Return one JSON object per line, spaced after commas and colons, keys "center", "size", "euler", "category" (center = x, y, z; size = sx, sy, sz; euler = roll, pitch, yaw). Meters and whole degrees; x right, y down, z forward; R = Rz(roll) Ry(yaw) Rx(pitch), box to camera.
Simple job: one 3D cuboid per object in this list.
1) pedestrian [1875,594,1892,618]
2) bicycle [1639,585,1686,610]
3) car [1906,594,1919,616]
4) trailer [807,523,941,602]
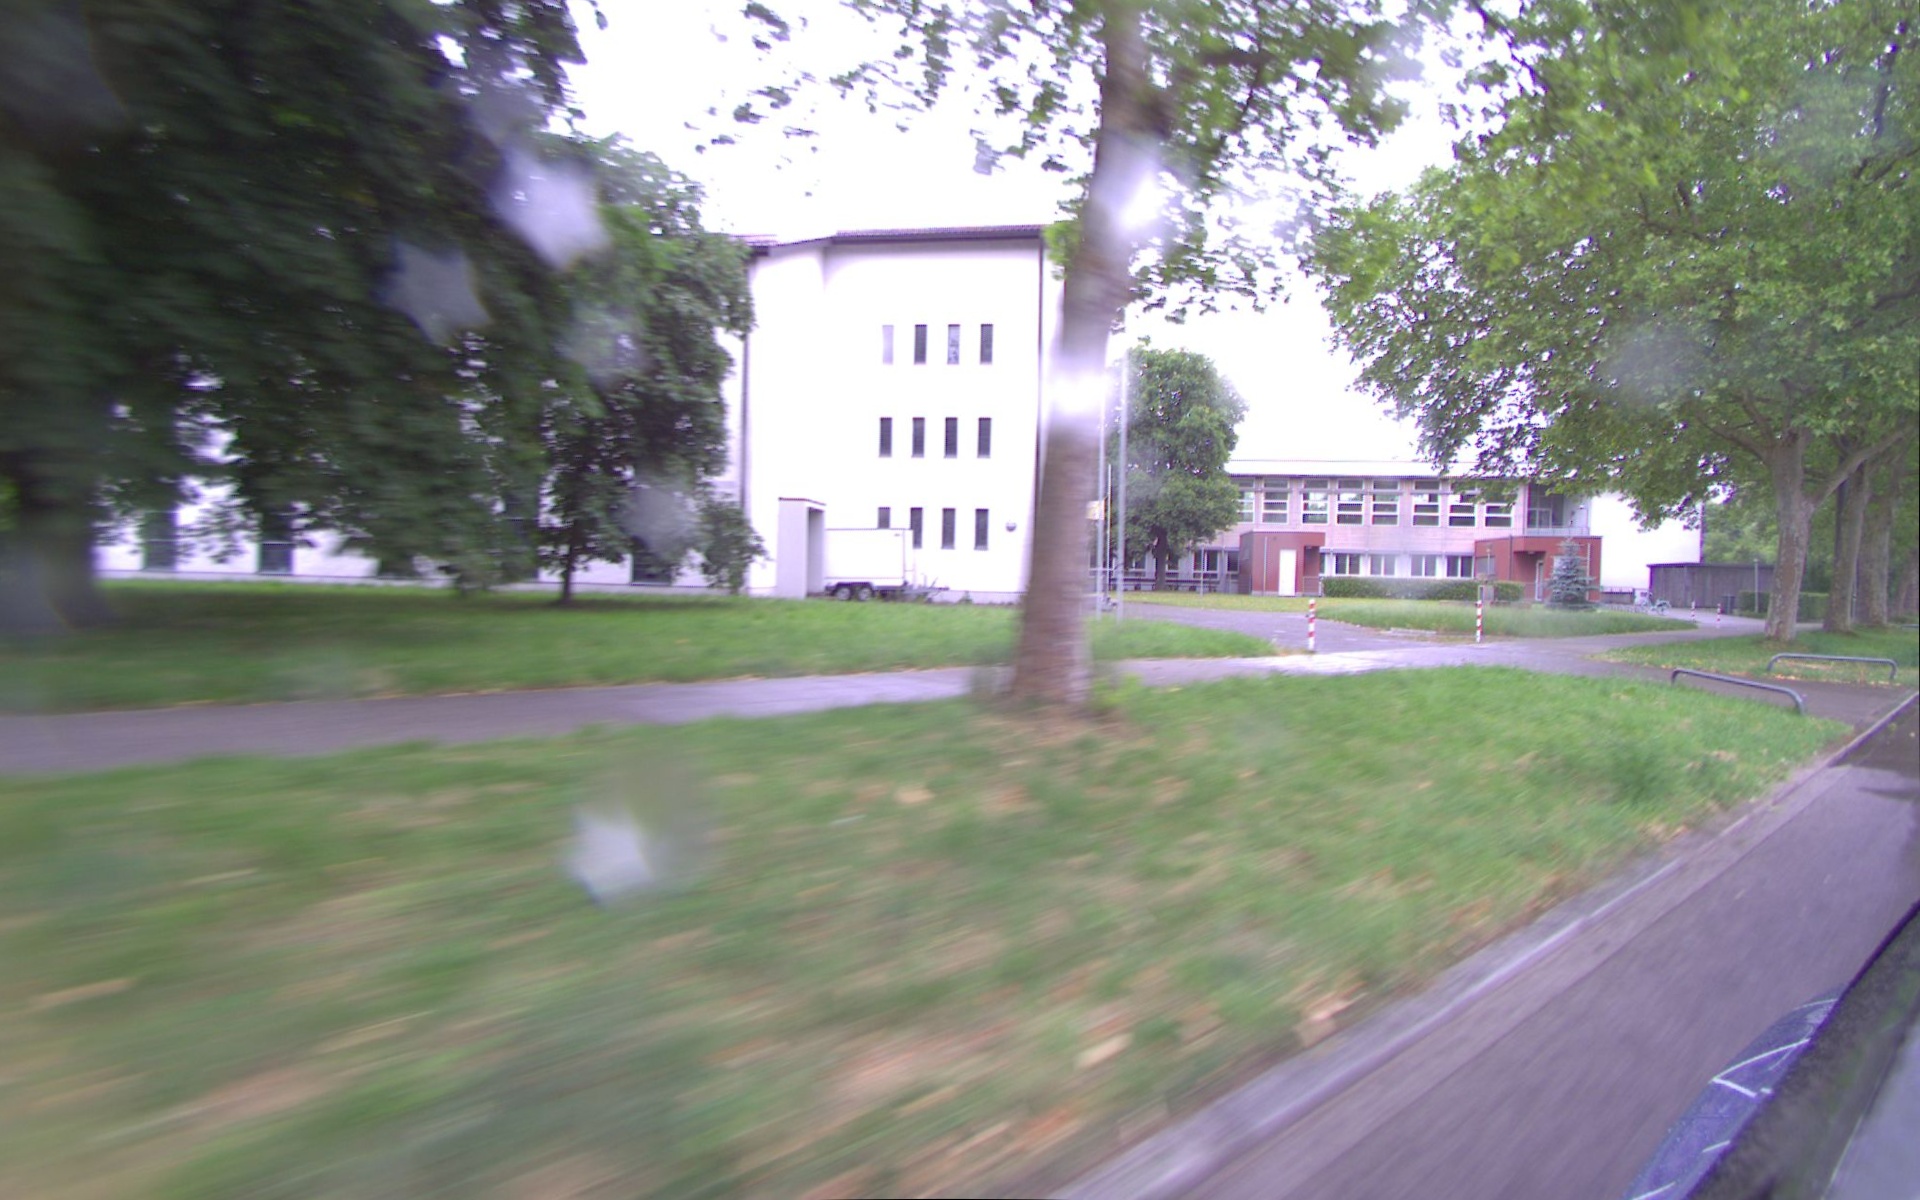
{"center": [61.745, 0.374, 67.682], "size": [0.576, 1.557, 0.747], "euler": [0, 2, -43], "category": "pedestrian"}
{"center": [35.873, -0.126, 51.687], "size": [1.902, 1.135, 0.521], "euler": [2, 3, 1], "category": "bicycle"}
{"center": [68.418, 0.435, 69.995], "size": [3.981, 1.505, 1.623], "euler": [3, 2, 29], "category": "car"}
{"center": [-2.722, -1.207, 32.491], "size": [3.954, 2.337, 1.888], "euler": [2, 1, 9], "category": "trailer"}
